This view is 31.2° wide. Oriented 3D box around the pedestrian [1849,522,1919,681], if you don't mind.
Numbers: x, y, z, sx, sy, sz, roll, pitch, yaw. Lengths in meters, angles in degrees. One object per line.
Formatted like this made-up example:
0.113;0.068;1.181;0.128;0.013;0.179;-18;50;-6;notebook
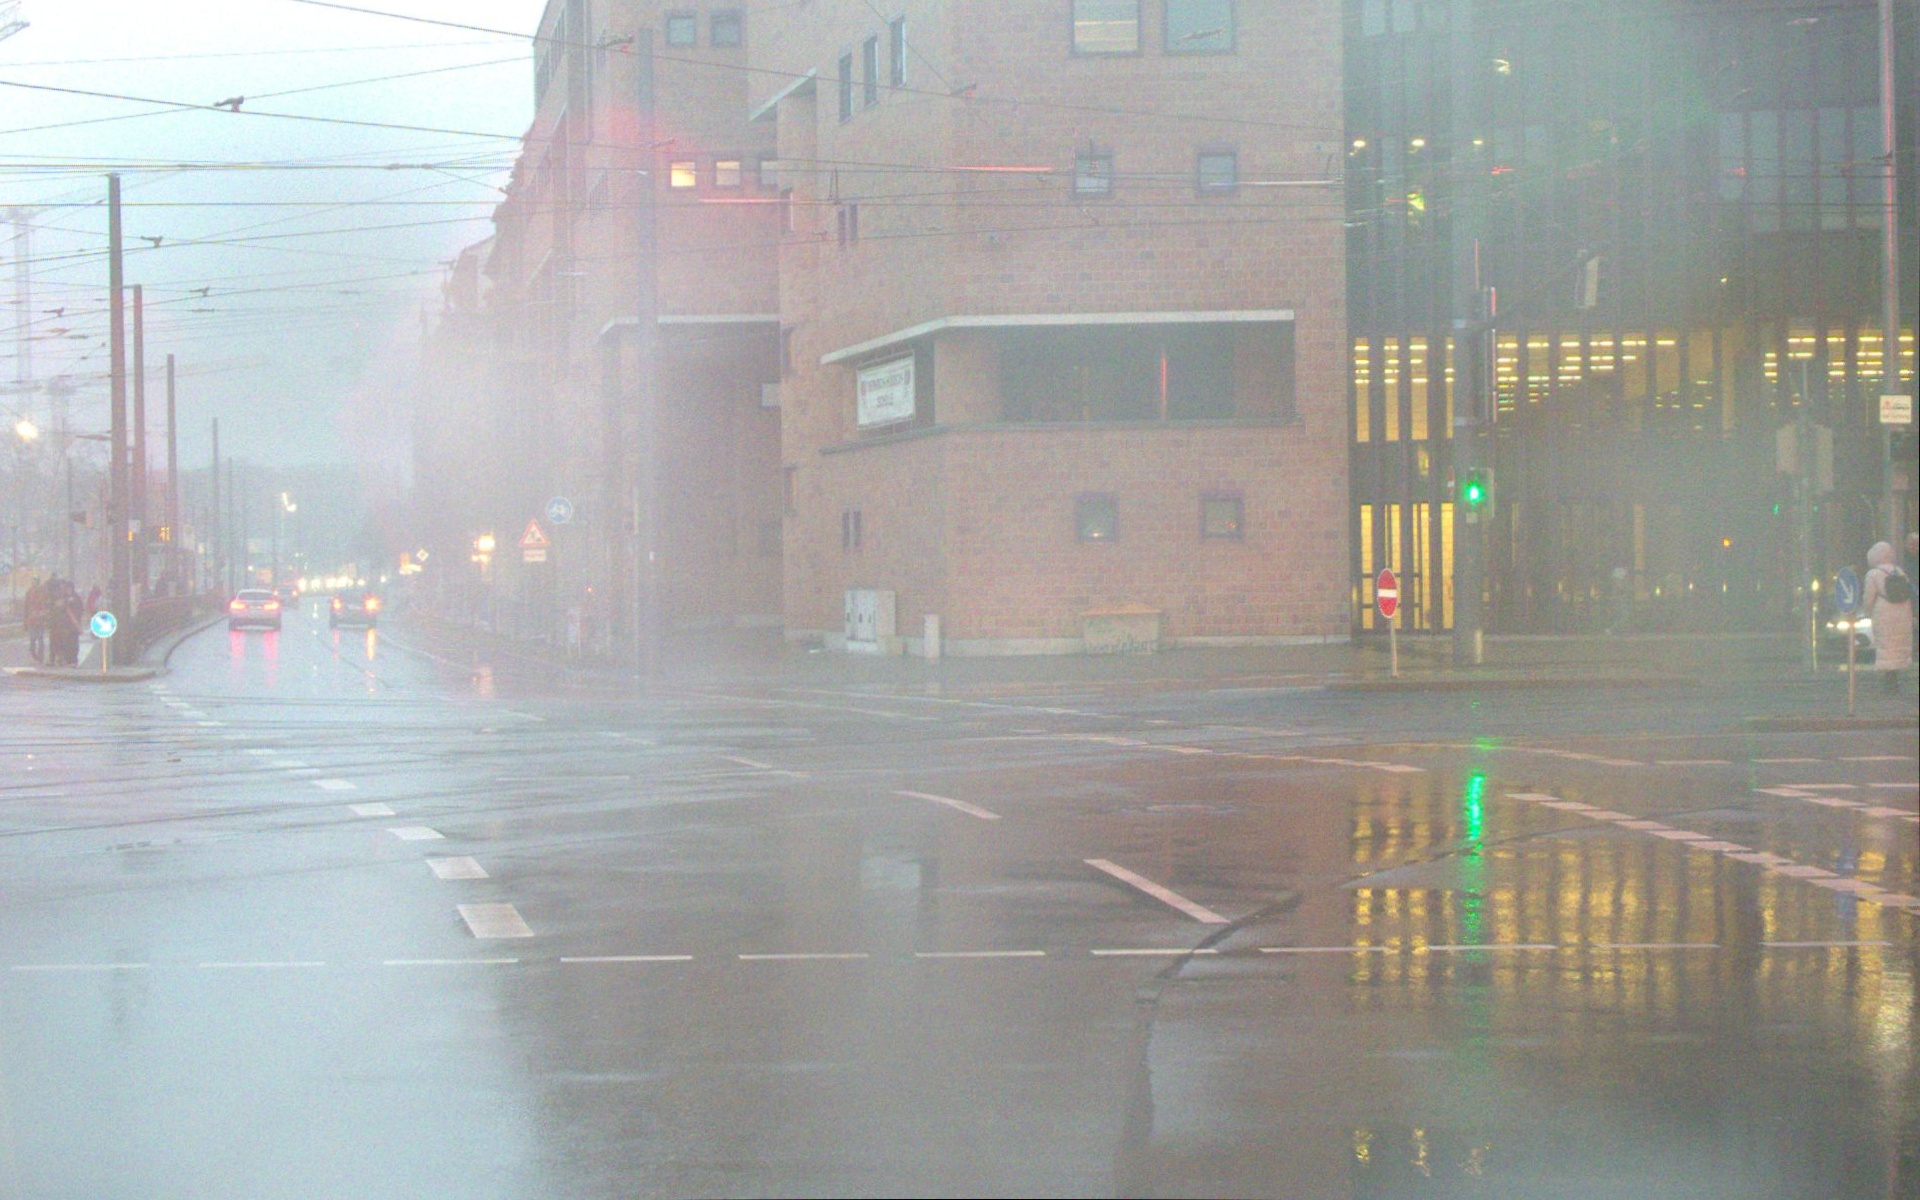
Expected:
10.660;0.009;39.173;0.733;1.781;0.735;-1;0;-14;pedestrian

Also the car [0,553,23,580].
-48.872;-1.703;175.763;1.681;1.349;3.547;0;0;-12;car

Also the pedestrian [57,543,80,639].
-17.241;-0.176;66.460;0.412;1.839;0.670;0;0;-16;pedestrian

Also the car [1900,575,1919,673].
15.133;0.259;46.962;3.980;1.336;1.815;-2;1;-8;car

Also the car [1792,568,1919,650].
15.836;0.126;56.113;3.980;1.306;1.815;0;0;-8;car

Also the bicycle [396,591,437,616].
-24.040;0.166;152.081;1.729;1.051;0.371;-2;1;-12;bicycle

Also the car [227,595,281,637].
-25.637;0.573;124.913;1.783;1.462;3.149;-1;1;-9;car

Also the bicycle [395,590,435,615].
-24.203;0.117;152.676;1.729;1.051;0.371;-2;1;-12;bicycle

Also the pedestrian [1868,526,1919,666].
12.438;-0.066;44.380;1.148;1.781;0.778;-1;0;-10;pedestrian

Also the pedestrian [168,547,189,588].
-29.001;-1.196;127.611;0.679;1.511;0.619;0;0;-23;pedestrian

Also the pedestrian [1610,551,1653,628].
12.189;-0.189;62.434;0.737;1.384;0.737;-1;1;11;pedestrian

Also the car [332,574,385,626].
-23.970;-0.029;137.174;1.993;2.007;4.001;-1;1;-9;car
